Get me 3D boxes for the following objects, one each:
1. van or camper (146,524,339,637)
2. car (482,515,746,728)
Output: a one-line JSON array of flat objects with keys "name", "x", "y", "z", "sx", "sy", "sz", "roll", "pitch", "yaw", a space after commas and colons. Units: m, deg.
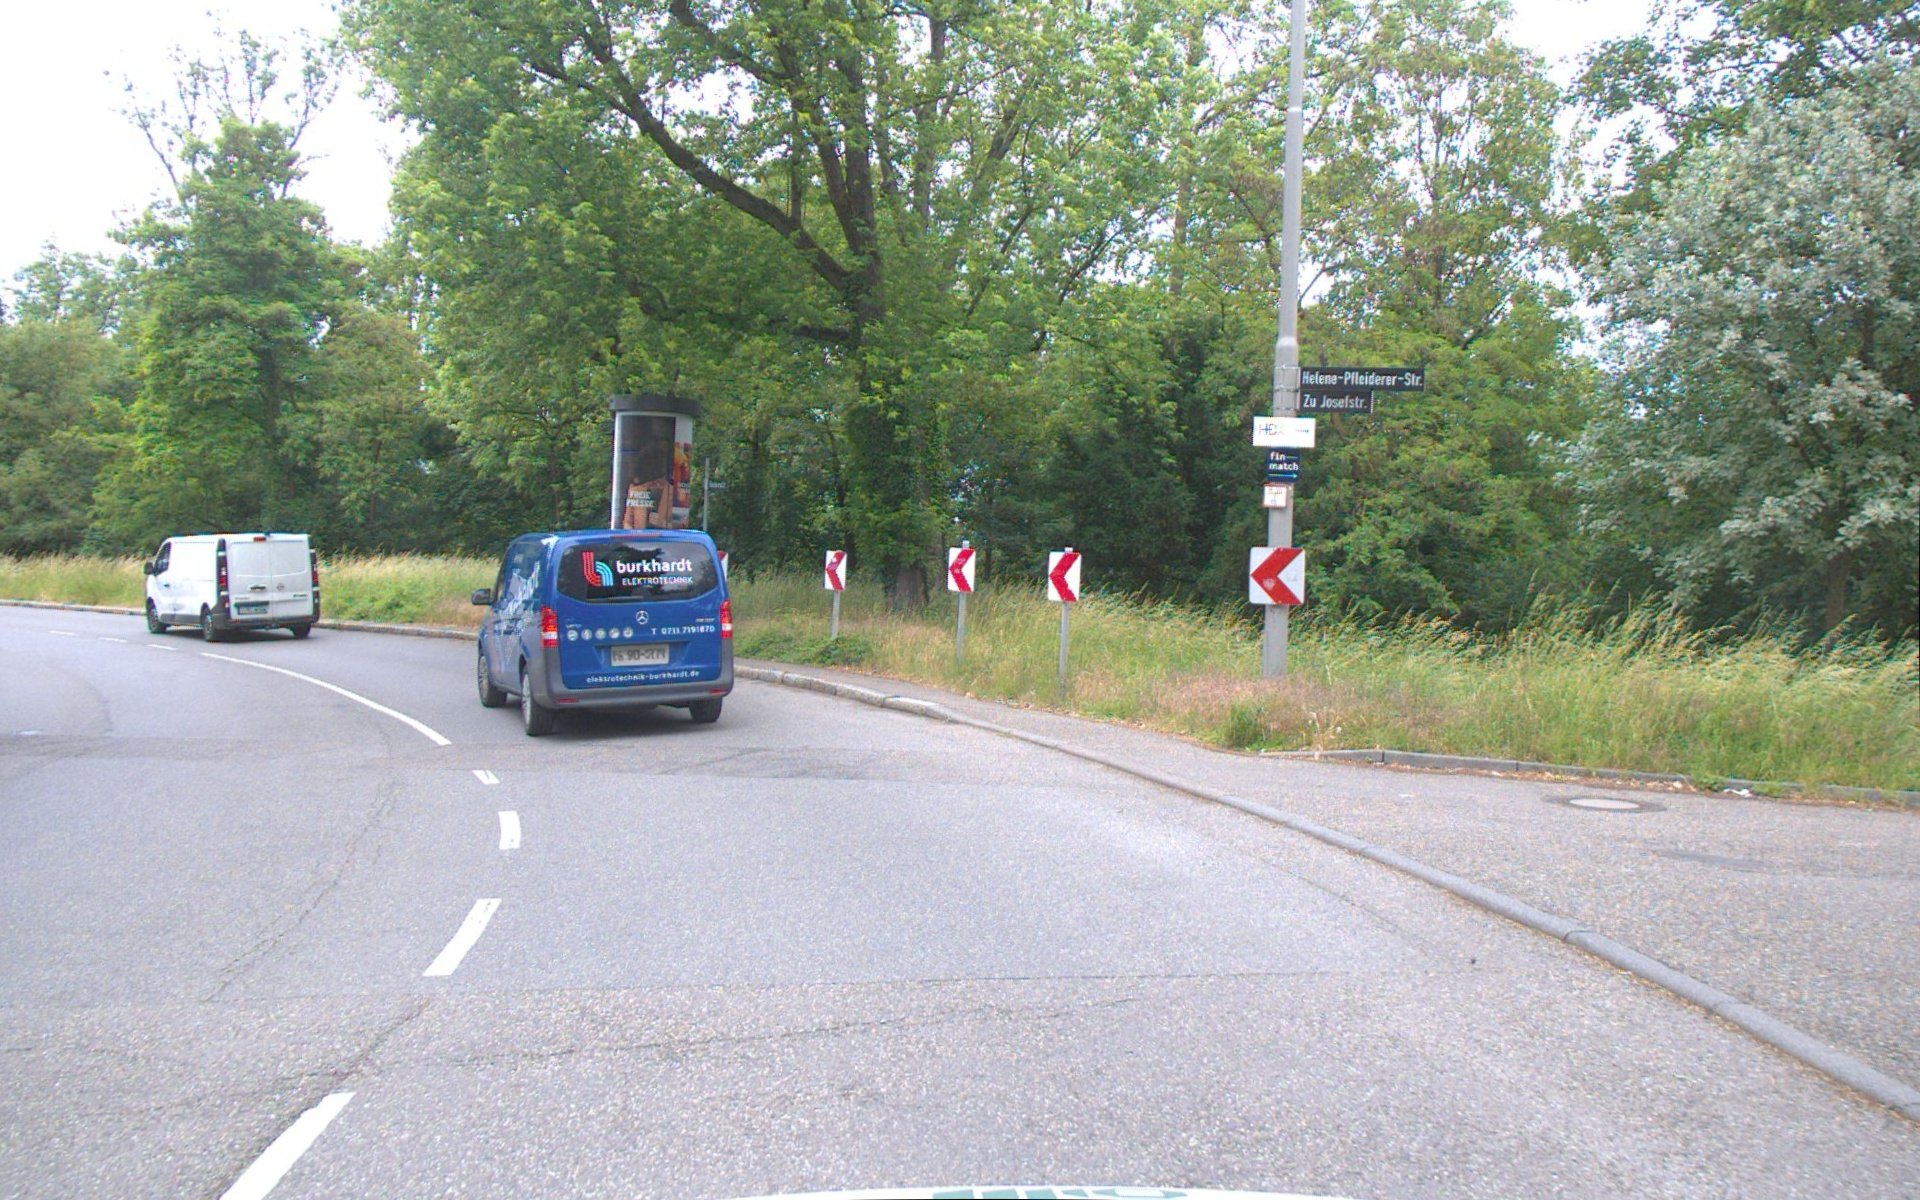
[{"name": "van or camper", "x": -13.960, "y": -0.431, "z": 32.038, "sx": 2.009, "sy": 1.990, "sz": 4.821, "roll": 0, "pitch": 3, "yaw": -42}, {"name": "car", "x": -3.647, "y": 0.115, "z": 16.850, "sx": 1.887, "sy": 1.869, "sz": 4.265, "roll": -1, "pitch": 2, "yaw": -22}]
